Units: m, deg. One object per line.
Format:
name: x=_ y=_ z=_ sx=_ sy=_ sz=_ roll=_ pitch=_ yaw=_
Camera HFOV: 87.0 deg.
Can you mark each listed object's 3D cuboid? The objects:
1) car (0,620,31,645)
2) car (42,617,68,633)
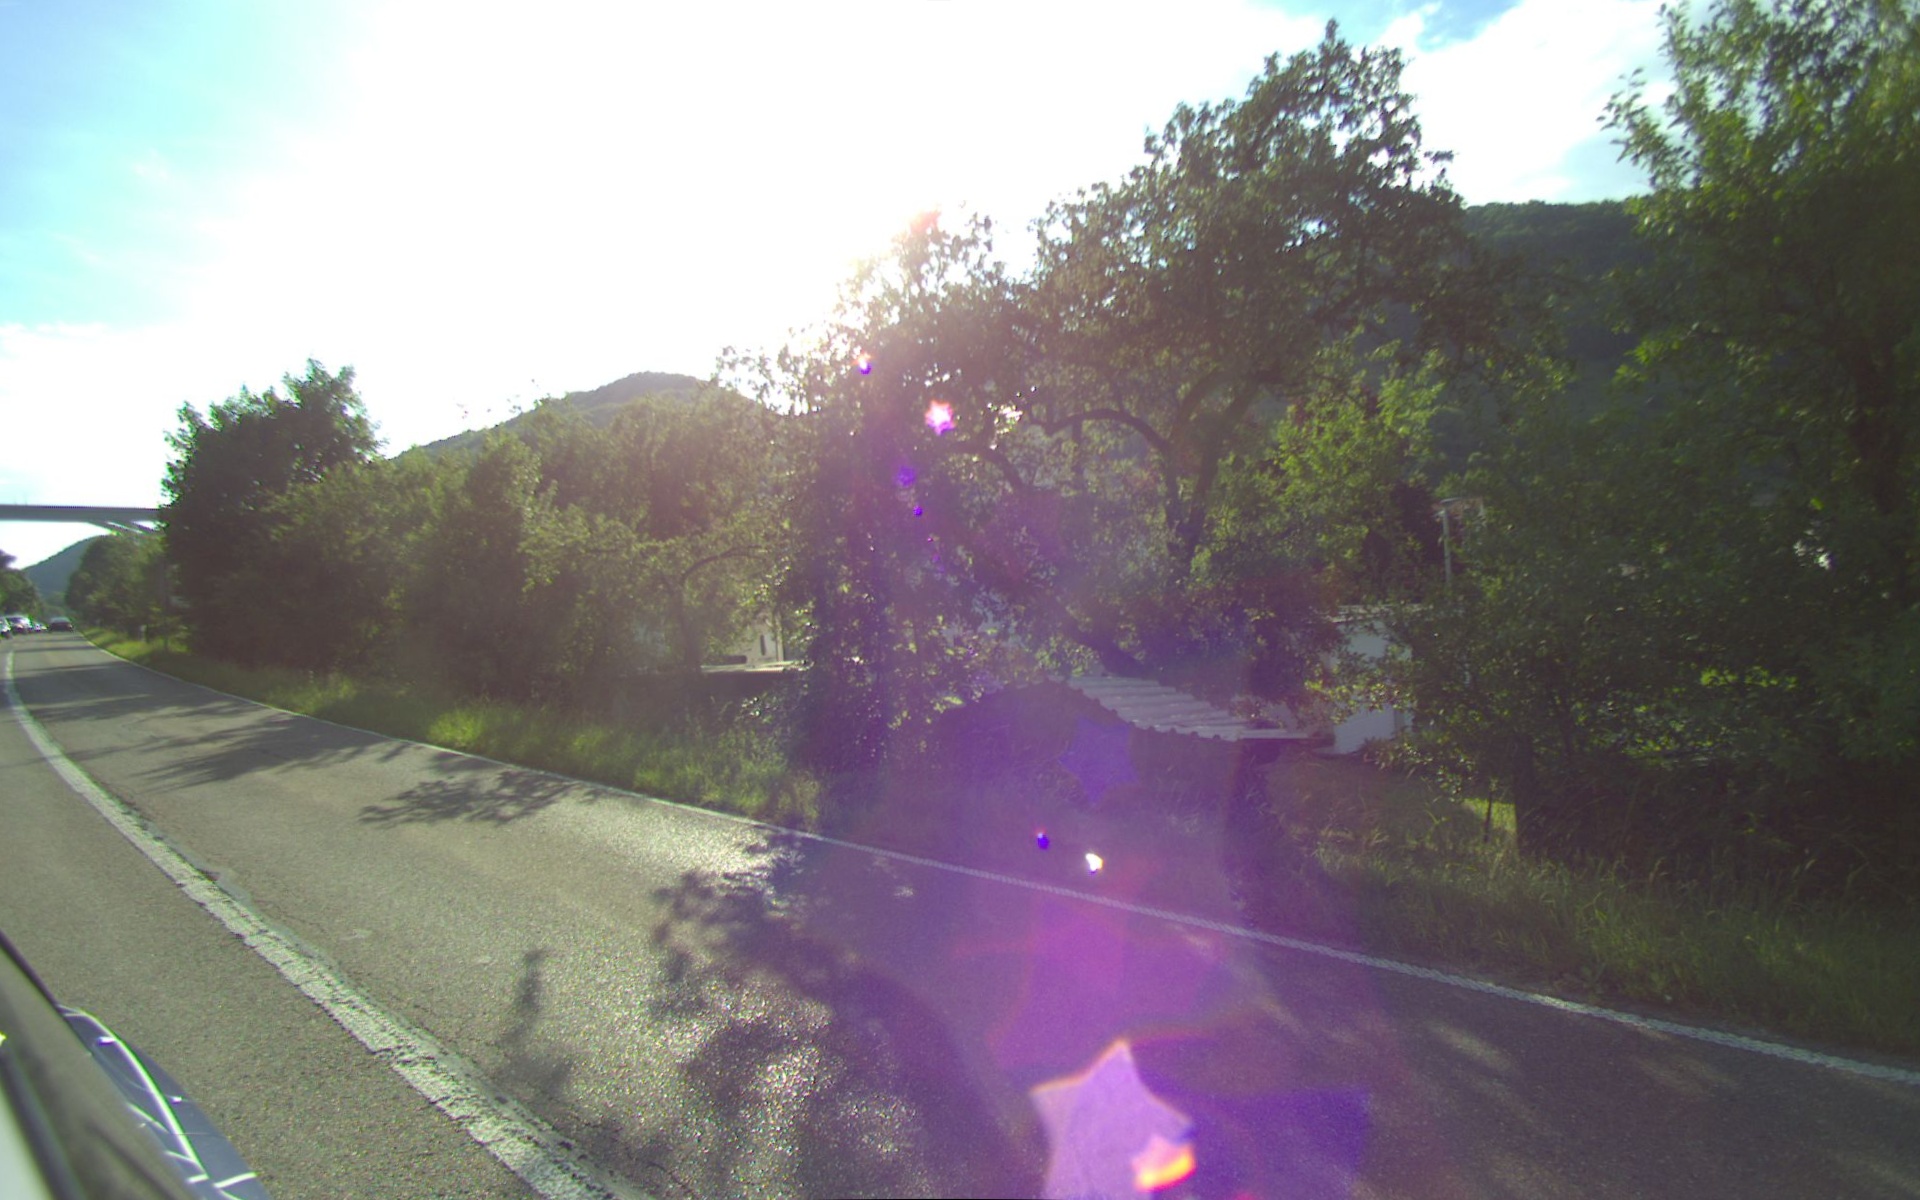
car: x=-82.806 y=2.814 z=88.685 sx=1.970 sy=2.029 sz=4.003 roll=-1 pitch=0 yaw=-44
car: x=-82.354 y=2.258 z=92.100 sx=1.576 sy=1.364 sz=4.206 roll=-1 pitch=0 yaw=-44
